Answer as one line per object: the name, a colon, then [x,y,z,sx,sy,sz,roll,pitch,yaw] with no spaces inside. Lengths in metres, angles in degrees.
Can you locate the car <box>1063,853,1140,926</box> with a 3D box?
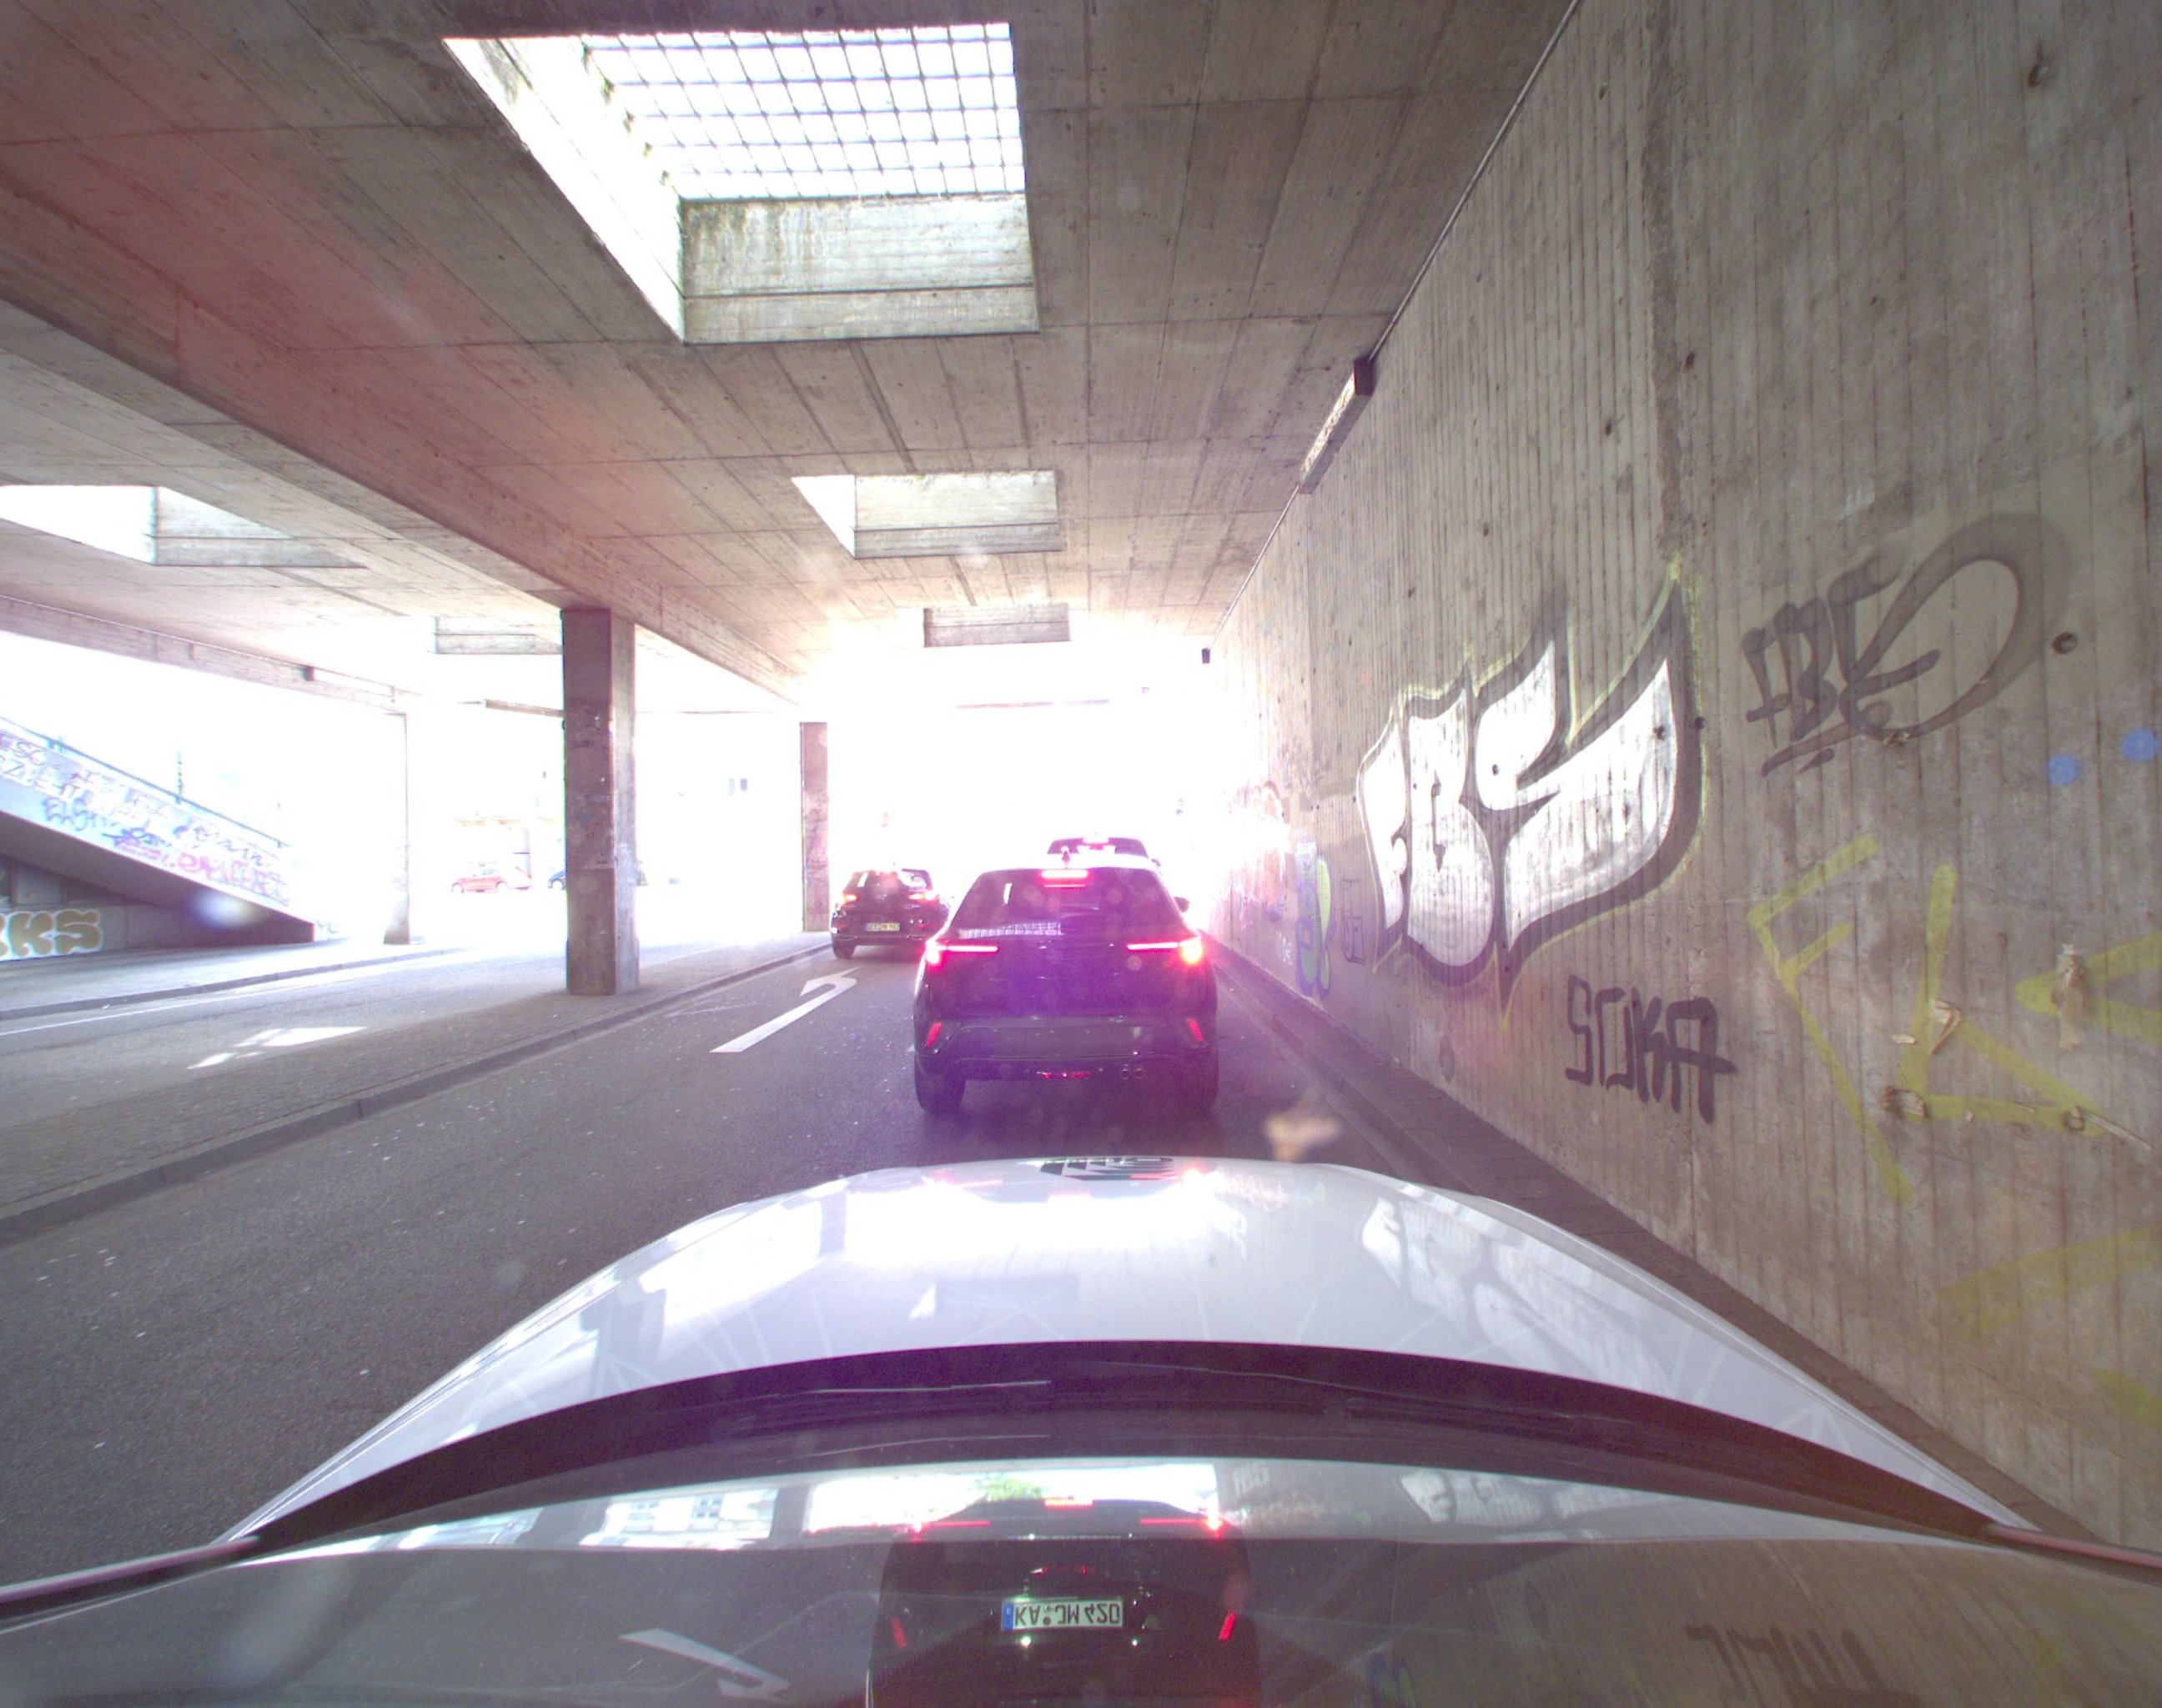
car: [0.498,0.762,19.384,1.603,1.513,4.055,-1,0,2]

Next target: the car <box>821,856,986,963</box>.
car: [-2.743,0.800,13.484,1.755,1.480,3.846,-1,0,2]

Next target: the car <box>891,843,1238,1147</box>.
car: [-0.021,0.727,6.226,1.755,1.531,4.091,-1,0,2]

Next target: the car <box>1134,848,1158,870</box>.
car: [4.967,0.378,62.253,1.745,1.667,3.950,0,-1,6]

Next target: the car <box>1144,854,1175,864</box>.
car: [12.833,0.852,133.690,4.814,1.667,1.812,0,-1,-19]

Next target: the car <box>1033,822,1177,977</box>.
car: [0.363,0.567,12.165,1.755,1.883,4.148,-1,0,2]

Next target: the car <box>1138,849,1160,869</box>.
car: [5.754,0.421,68.357,1.745,1.667,3.950,0,-1,6]

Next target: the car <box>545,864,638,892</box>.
car: [-27.171,1.320,45.288,4.096,1.475,1.737,-1,-1,0]

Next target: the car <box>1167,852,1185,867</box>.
car: [10.850,0.582,92.703,1.742,1.667,3.956,0,-1,11]

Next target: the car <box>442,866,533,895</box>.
car: [-32.927,1.442,45.265,3.748,1.475,1.749,-1,-1,0]

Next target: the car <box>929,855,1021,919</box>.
car: [-2.655,0.796,21.213,1.755,1.480,3.846,-1,0,2]
